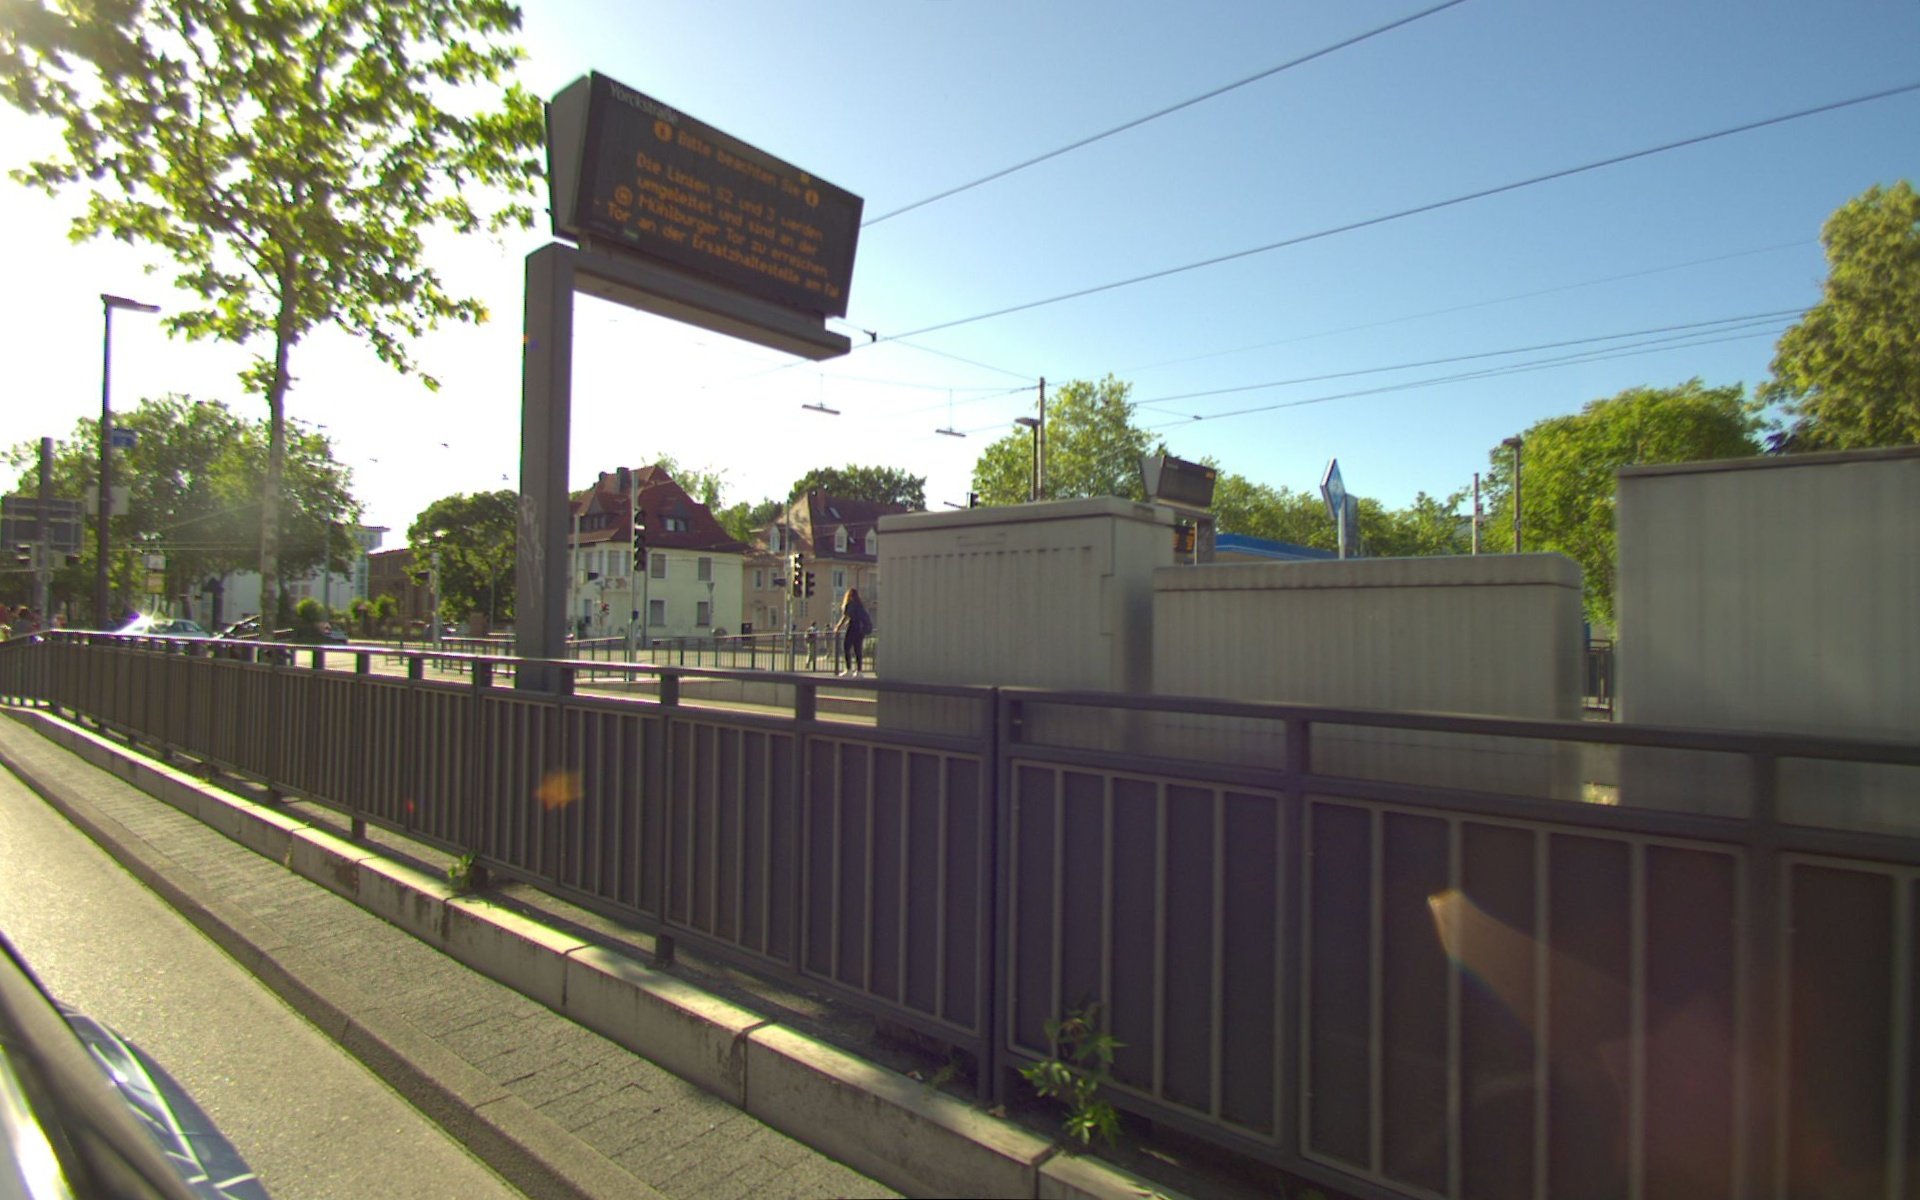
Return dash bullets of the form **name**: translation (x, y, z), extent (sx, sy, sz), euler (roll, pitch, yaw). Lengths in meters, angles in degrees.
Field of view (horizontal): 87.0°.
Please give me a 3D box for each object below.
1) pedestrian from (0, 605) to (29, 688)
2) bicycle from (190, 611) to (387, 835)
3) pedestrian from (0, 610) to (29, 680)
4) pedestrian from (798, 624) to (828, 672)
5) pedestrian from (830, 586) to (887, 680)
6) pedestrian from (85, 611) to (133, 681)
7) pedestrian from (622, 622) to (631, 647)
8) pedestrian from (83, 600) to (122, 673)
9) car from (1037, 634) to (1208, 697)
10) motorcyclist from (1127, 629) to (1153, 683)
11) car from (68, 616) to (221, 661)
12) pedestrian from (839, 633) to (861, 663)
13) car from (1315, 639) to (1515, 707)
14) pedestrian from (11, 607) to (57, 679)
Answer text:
- **pedestrian**: translation (-21.467, 1.033, 22.816), extent (0.776, 1.841, 0.628), euler (-1, -2, 44)
- **bicycle**: translation (-4.868, 0.788, 7.266), extent (2.169, 1.390, 0.632), euler (-1, -2, 42)
- **pedestrian**: translation (-23.572, 1.100, 24.985), extent (0.776, 1.703, 0.788), euler (-1, -2, 44)
- **pedestrian**: translation (-5.334, 1.729, 36.724), extent (0.824, 1.703, 0.646), euler (-1, -2, 33)
- **pedestrian**: translation (-1.795, 0.582, 17.845), extent (0.735, 1.604, 0.677), euler (-1, -2, 42)
- **pedestrian**: translation (-21.276, 1.140, 25.305), extent (1.008, 1.703, 0.792), euler (-1, -2, 44)
- **pedestrian**: translation (-22.853, 2.363, 69.344), extent (0.408, 1.756, 0.411), euler (-1, -2, 40)
- **pedestrian**: translation (-22.071, 0.933, 26.039), extent (0.808, 1.846, 0.642), euler (-1, -2, 44)
- **car**: translation (4.089, 1.601, 25.817), extent (4.000, 1.431, 1.778), euler (-1, -2, 43)
- **motorcyclist**: translation (6.327, 1.944, 35.540), extent (0.745, 1.866, 0.545), euler (-1, -2, 44)
- **car**: translation (-31.242, 1.455, 38.947), extent (1.980, 1.616, 4.254), euler (0, -2, 13)
- **pedestrian**: translation (-5.516, 2.382, 50.618), extent (0.799, 1.495, 0.758), euler (-1, -2, 39)
- **car**: translation (10.763, 1.674, 24.092), extent (4.000, 1.431, 1.778), euler (-1, -2, 43)
- **pedestrian**: translation (-22.292, 1.022, 24.360), extent (0.776, 1.703, 0.733), euler (-1, -2, 44)
